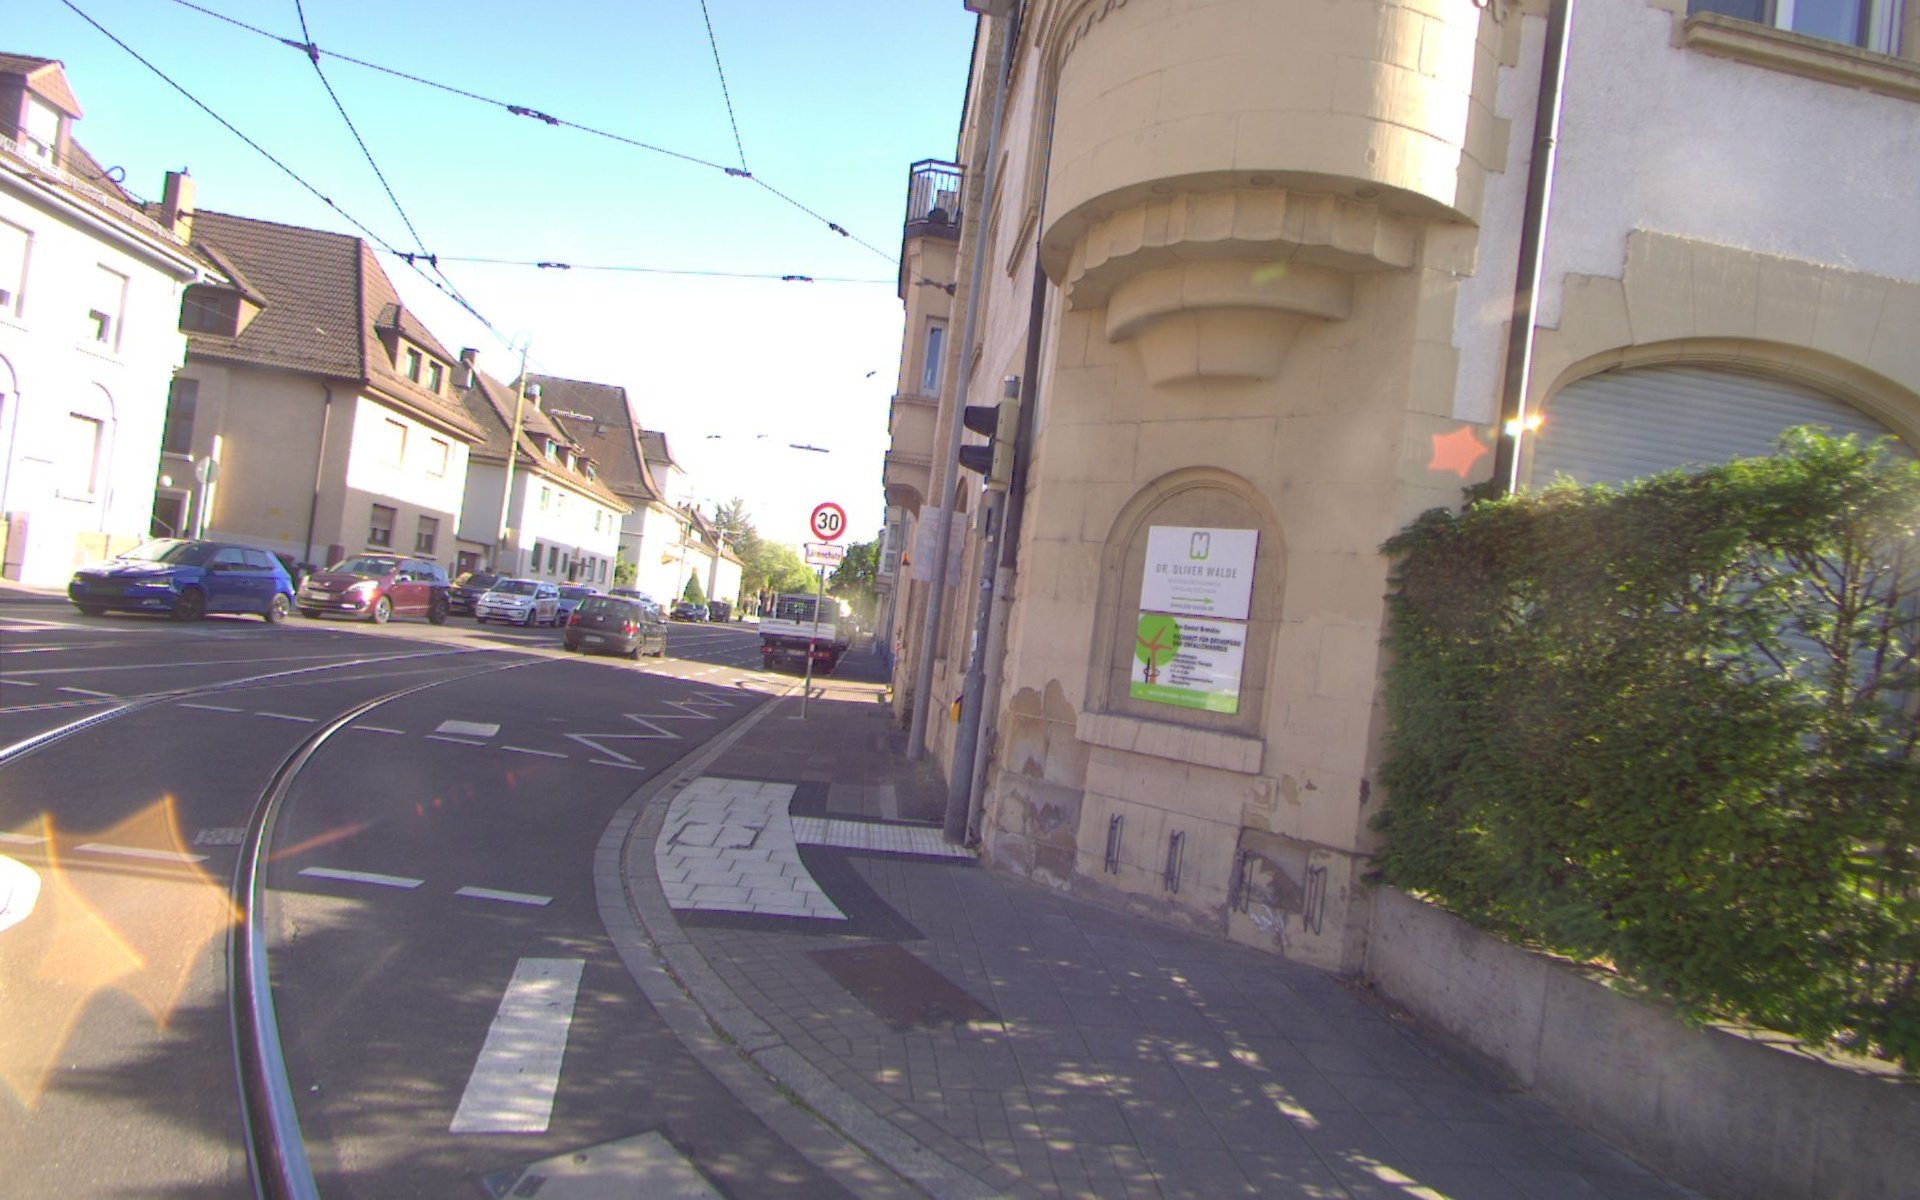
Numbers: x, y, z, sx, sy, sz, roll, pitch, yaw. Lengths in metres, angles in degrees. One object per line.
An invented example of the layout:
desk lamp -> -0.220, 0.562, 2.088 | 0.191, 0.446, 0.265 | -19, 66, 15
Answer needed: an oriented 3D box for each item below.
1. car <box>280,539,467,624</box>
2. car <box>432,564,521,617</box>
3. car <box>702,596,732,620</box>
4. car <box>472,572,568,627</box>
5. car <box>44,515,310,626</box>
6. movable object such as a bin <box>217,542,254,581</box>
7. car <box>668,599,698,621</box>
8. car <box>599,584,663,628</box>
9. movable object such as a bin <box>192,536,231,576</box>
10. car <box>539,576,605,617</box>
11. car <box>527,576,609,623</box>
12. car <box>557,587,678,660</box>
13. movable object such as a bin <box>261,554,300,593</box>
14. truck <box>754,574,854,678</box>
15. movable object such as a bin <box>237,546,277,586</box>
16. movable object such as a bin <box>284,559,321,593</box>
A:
car -> -14.000, -0.352, 24.383 | 1.711, 1.630, 4.716 | 6, -2, -1
car -> -17.684, -0.309, 36.991 | 1.592, 1.647, 3.920 | 6, -2, -6
car -> -23.904, 0.845, 99.063 | 1.879, 2.036, 4.948 | 9, -2, -4
car -> -13.921, 0.027, 32.004 | 1.559, 1.478, 3.613 | 6, -2, -4
car -> -13.555, -0.414, 17.765 | 1.658, 1.586, 3.928 | 5, -1, -3
movable object such as a bin -> -22.733, -1.204, 31.588 | 0.561, 1.124, 0.590 | 10, -1, -6
car -> -21.559, 0.778, 78.527 | 1.640, 1.494, 4.245 | 8, -2, -9
car -> -15.027, 0.300, 46.177 | 1.679, 1.724, 4.363 | 7, -2, -5
movable object such as a bin -> -23.434, -1.360, 31.511 | 0.606, 1.124, 0.590 | 10, -1, -6
car -> -18.880, -0.117, 49.189 | 1.736, 1.725, 4.553 | 6, -2, -6
car -> -14.288, 0.038, 36.850 | 1.594, 1.478, 4.074 | 6, -2, -5
car -> -8.098, 0.568, 24.144 | 1.691, 1.419, 4.005 | 7, -2, -5
movable object such as a bin -> -21.436, -0.822, 31.740 | 0.607, 1.092, 0.672 | 10, -1, -6
truck -> -4.491, 0.752, 29.911 | 2.262, 2.506, 6.144 | 7, -2, -5
movable object such as a bin -> -22.111, -1.062, 31.661 | 0.633, 1.124, 0.672 | 10, -1, -6
movable object such as a bin -> -20.798, -0.762, 31.814 | 0.648, 0.955, 0.582 | 10, -1, -6
